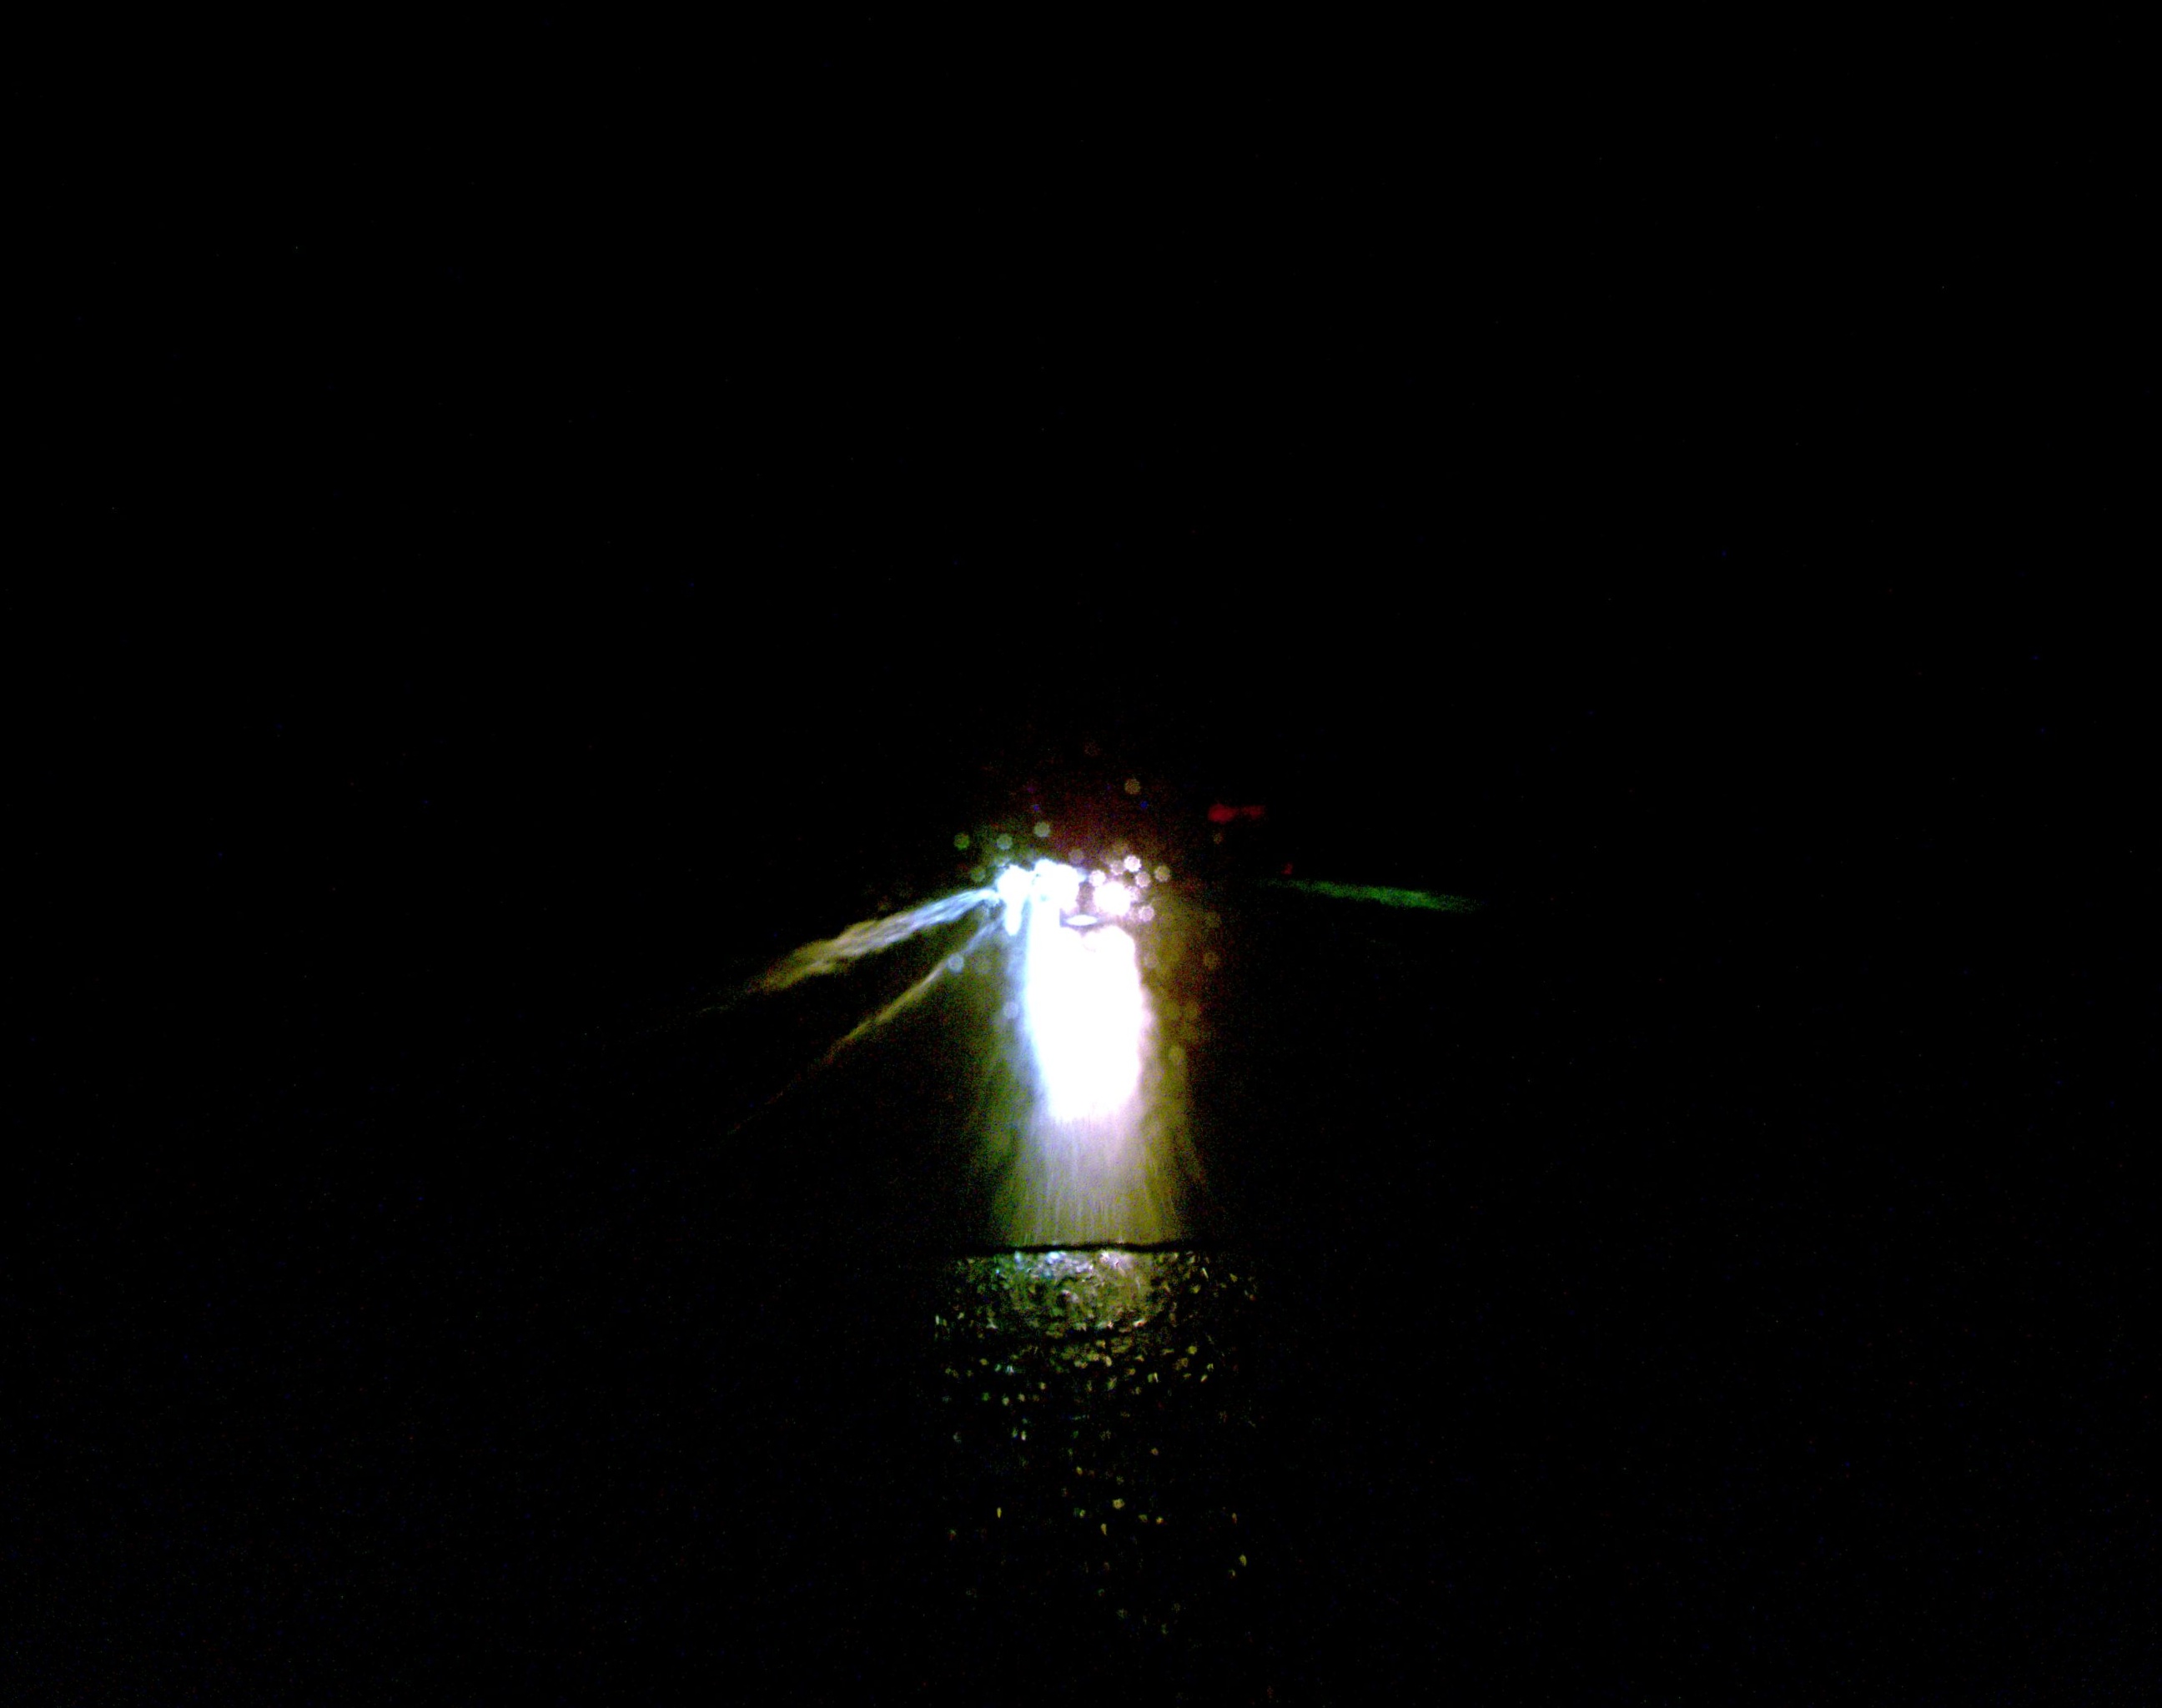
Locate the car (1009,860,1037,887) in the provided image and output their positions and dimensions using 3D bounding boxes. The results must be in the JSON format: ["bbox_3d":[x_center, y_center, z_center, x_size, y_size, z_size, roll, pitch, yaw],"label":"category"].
[{"bbox_3d":[-4.115,1.366,54.350,1.784,1.696,3.998,-3,1,-3],"label":"car"}]

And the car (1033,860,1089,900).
[{"bbox_3d":[-0.947,1.084,32.998,1.850,1.441,3.871,-3,1,-9],"label":"car"}]

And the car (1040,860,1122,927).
[{"bbox_3d":[0.103,0.992,20.752,1.848,1.441,4.000,-3,1,5],"label":"car"}]
